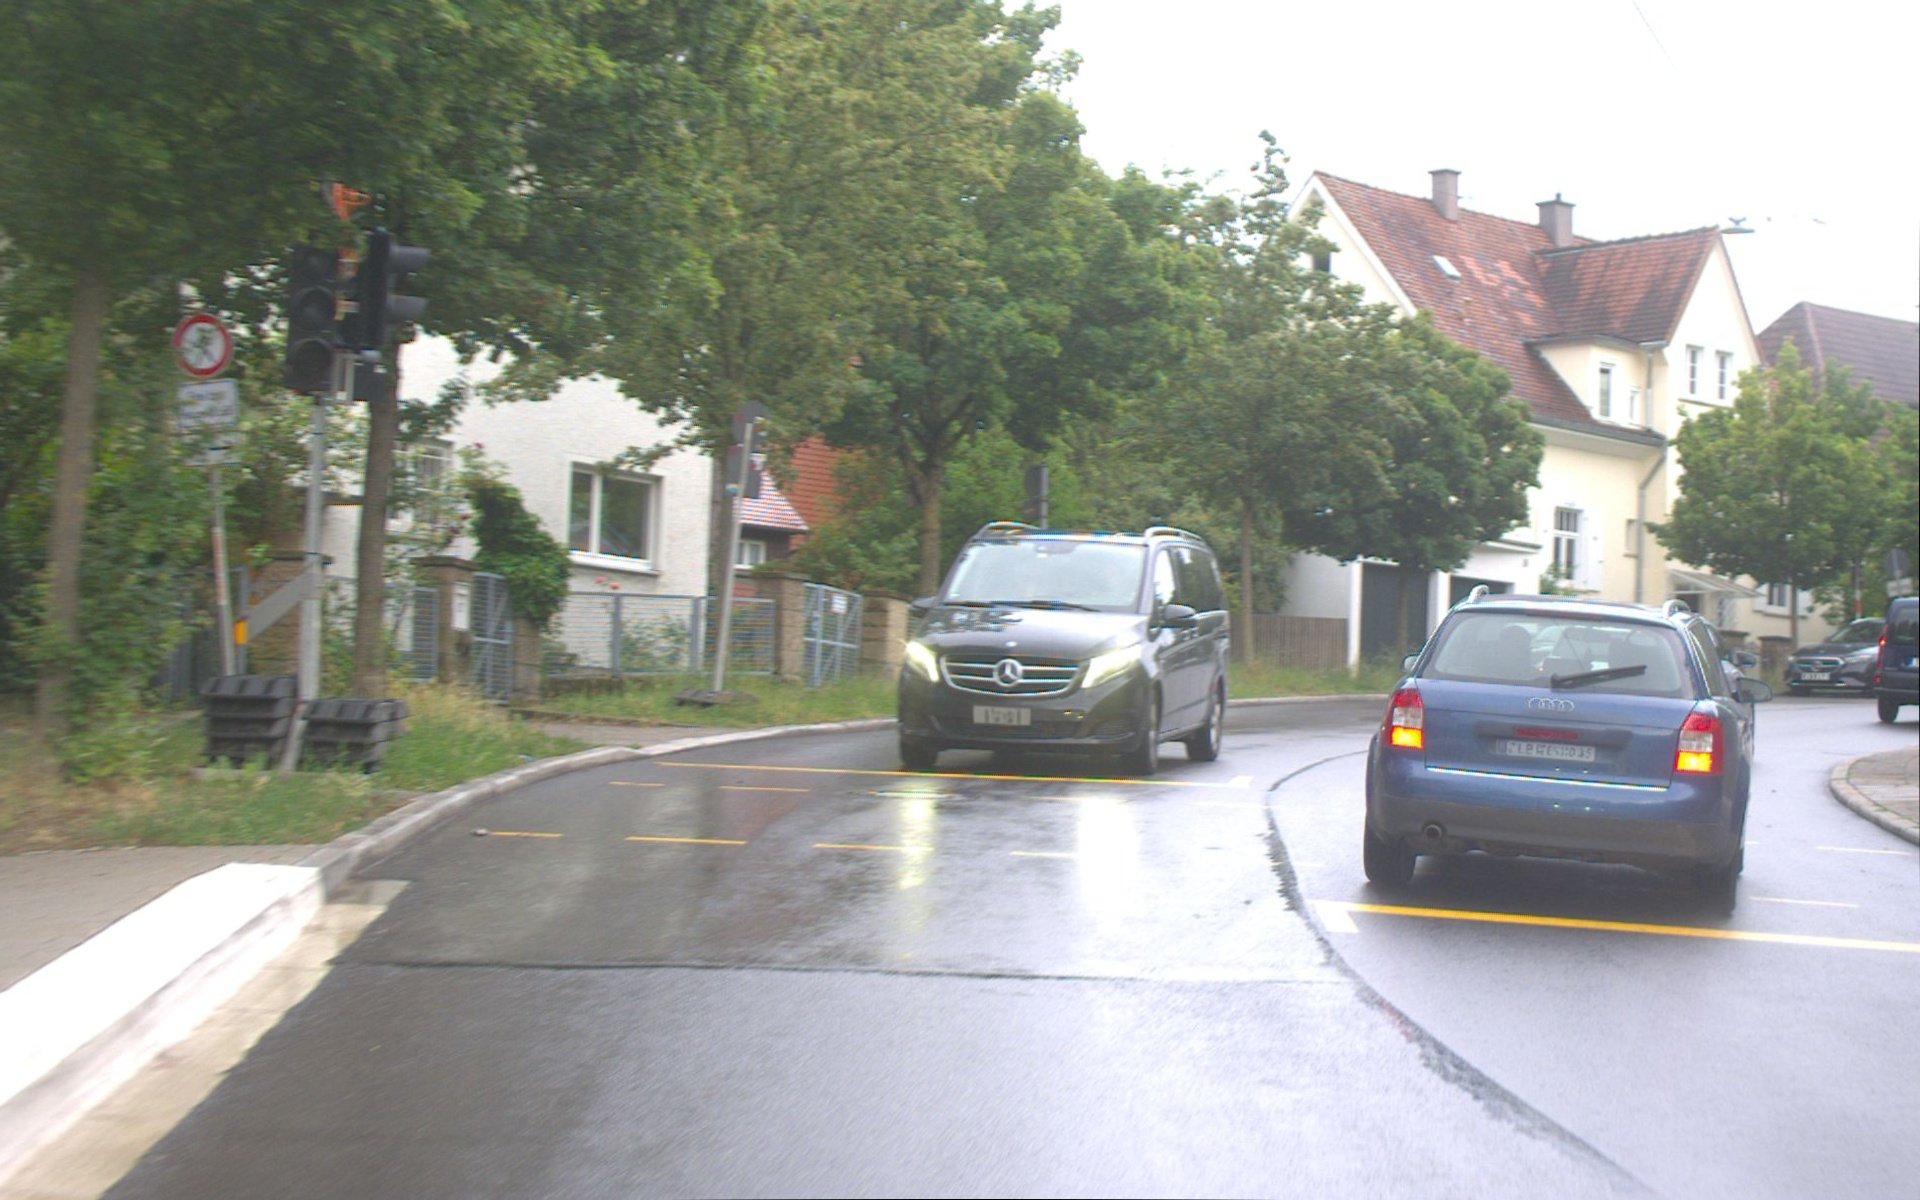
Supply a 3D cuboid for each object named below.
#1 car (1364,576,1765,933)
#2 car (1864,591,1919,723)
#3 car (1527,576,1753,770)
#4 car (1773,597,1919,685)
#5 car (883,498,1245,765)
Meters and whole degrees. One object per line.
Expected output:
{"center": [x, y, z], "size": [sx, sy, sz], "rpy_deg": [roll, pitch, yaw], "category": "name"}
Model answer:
{"center": [3.036, 0.659, 17.060], "size": [1.734, 1.461, 3.998], "rpy_deg": [0, 2, 11], "category": "car"}
{"center": [14.459, 0.802, 50.411], "size": [1.735, 1.762, 4.230], "rpy_deg": [0, 2, 23], "category": "car"}
{"center": [6.459, 0.630, 32.686], "size": [1.976, 1.629, 4.233], "rpy_deg": [0, 2, 11], "category": "car"}
{"center": [17.374, 0.793, 64.352], "size": [4.891, 1.540, 1.872], "rpy_deg": [2, 0, -45], "category": "car"}
{"center": [0.941, 0.234, 27.111], "size": [1.898, 1.883, 5.150], "rpy_deg": [1, 0, 13], "category": "car"}
